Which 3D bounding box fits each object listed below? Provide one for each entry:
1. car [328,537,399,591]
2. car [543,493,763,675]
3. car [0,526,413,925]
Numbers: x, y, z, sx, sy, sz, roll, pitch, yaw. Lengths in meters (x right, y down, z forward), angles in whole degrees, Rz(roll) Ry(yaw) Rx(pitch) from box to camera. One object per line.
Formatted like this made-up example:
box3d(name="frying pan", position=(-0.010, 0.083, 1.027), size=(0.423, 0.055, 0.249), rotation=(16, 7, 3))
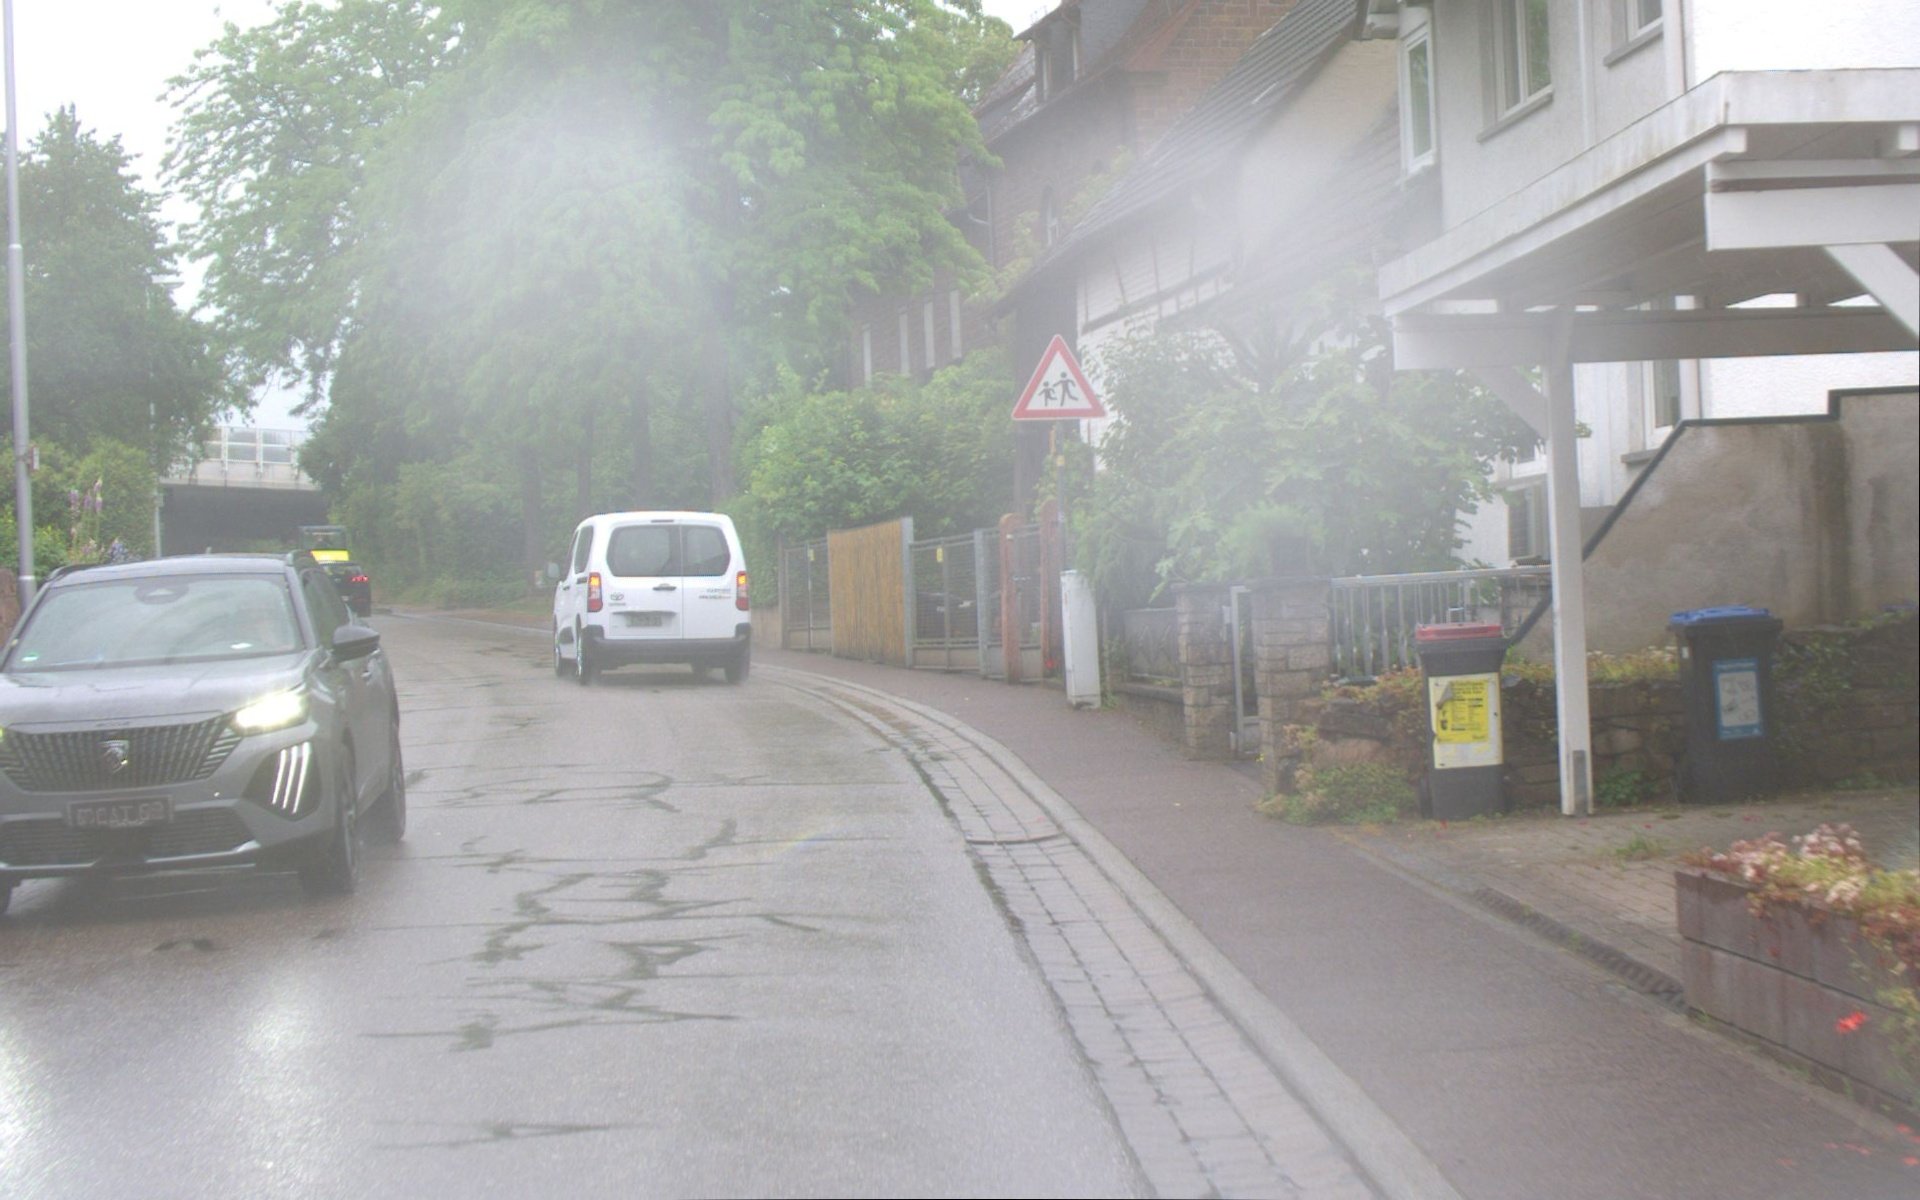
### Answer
box3d(name="car", position=(-15.488, -0.915, 89.150), size=(1.708, 1.373, 4.001), rotation=(0, 0, -11))
box3d(name="car", position=(-3.377, -0.211, 37.249), size=(1.896, 1.800, 4.001), rotation=(-2, 1, -11))
box3d(name="car", position=(-3.614, 0.483, 16.033), size=(1.699, 1.541, 3.851), rotation=(-4, 2, -4))
